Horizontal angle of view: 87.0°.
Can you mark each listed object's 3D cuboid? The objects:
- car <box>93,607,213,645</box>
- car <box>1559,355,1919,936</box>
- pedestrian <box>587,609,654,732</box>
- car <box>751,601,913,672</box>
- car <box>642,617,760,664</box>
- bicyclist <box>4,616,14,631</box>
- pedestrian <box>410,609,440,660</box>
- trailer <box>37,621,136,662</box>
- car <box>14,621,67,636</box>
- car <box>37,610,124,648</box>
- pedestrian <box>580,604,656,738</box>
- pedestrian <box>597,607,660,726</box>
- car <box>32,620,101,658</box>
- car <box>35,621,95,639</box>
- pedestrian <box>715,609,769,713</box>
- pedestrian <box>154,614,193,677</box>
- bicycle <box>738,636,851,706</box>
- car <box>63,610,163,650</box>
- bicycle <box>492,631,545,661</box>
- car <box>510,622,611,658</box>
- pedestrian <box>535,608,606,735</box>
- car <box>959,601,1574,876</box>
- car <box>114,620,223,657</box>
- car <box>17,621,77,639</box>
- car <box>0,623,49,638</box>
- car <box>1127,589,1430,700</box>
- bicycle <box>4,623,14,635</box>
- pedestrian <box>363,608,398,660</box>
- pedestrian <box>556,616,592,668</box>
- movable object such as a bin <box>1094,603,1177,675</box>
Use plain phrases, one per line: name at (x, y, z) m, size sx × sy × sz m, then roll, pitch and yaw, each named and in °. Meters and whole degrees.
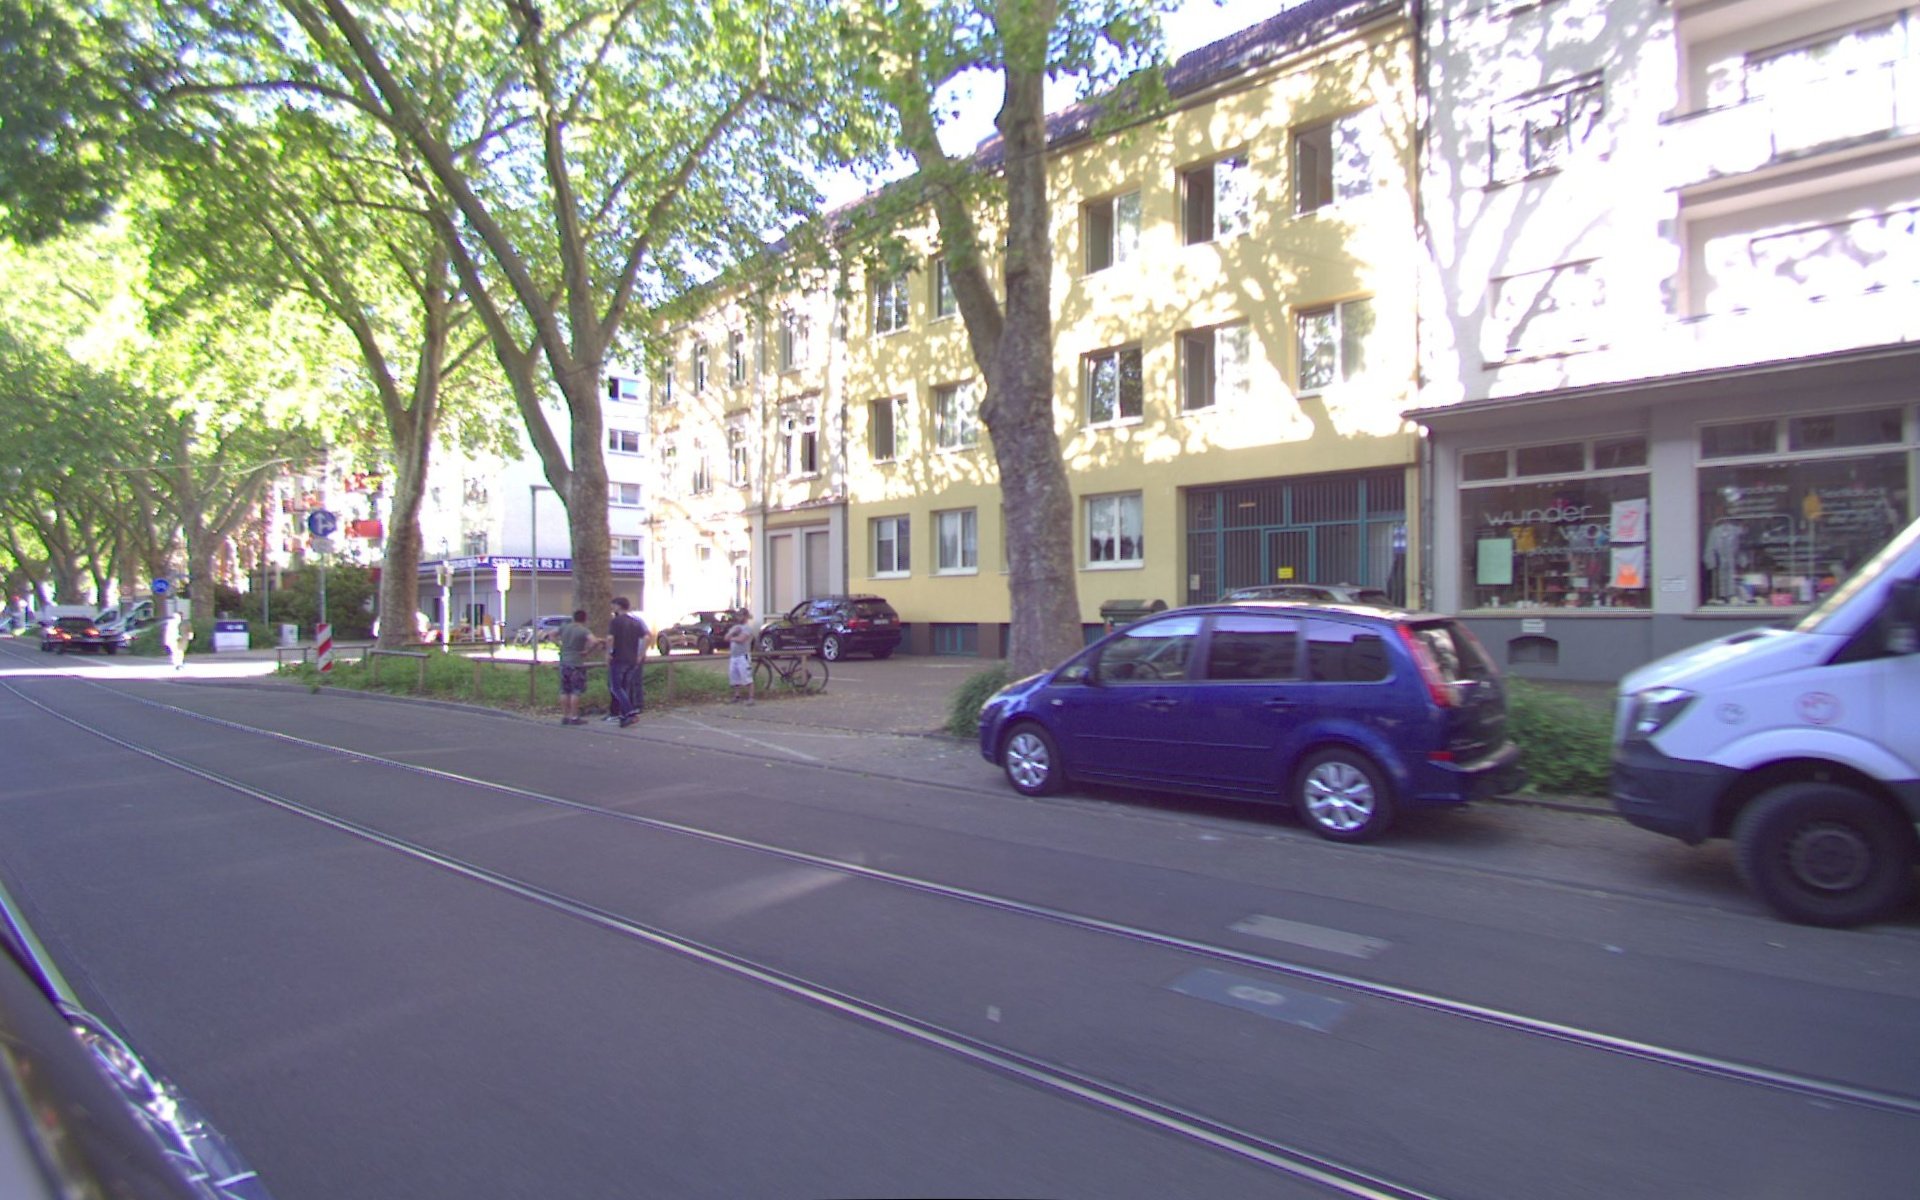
car at (-46.209, 1.440, 58.046) m, size 1.998 × 2.010 × 5.070 m, roll -1°, pitch 0°, yaw 38°
car at (6.134, 0.180, 4.116) m, size 2.083 × 2.597 × 6.028 m, roll -1°, pitch 0°, yaw -44°
pedestrian at (-4.961, 1.008, 14.822) m, size 0.759 × 1.748 × 0.715 m, roll -1°, pitch 0°, yaw -5°
car at (-3.590, 0.945, 27.786) m, size 1.971 × 1.750 × 4.698 m, roll -1°, pitch 0°, yaw -45°
car at (-8.437, 1.258, 32.846) m, size 3.998 × 1.398 × 1.761 m, roll -1°, pitch 0°, yaw 41°
bicyclist at (-76.765, 1.885, 81.701) m, size 0.666 × 1.222 × 0.526 m, roll -1°, pitch 0°, yaw 44°
pedestrian at (-19.512, 1.246, 36.912) m, size 0.668 × 1.793 × 0.715 m, roll 0°, pitch 0°, yaw 34°
trailer at (-38.596, 1.810, 44.628) m, size 6.582 × 1.644 × 2.420 m, roll -1°, pitch -3°, yaw 42°
car at (-98.241, 3.050, 108.149) m, size 1.999 × 1.478 × 3.945 m, roll -1°, pitch 0°, yaw 41°
car at (-63.766, 2.067, 73.429) m, size 2.000 × 2.552 × 4.598 m, roll -1°, pitch 0°, yaw 43°
pedestrian at (-4.763, 0.954, 14.103) m, size 0.771 × 1.790 × 0.704 m, roll -1°, pitch 0°, yaw 43°
pedestrian at (-5.034, 0.985, 15.414) m, size 0.759 × 1.748 × 0.718 m, roll -1°, pitch 0°, yaw -5°
car at (-42.612, 1.855, 48.246) m, size 4.181 × 1.696 × 1.902 m, roll -1°, pitch -3°, yaw 42°
car at (-83.040, 2.751, 93.886) m, size 1.999 × 1.478 × 3.945 m, roll -1°, pitch 0°, yaw 41°
pedestrian at (-3.498, 0.958, 16.273) m, size 0.759 × 1.622 × 0.715 m, roll -1°, pitch 0°, yaw -5°
pedestrian at (-23.179, 1.321, 29.834) m, size 0.800 × 1.805 × 0.692 m, roll -1°, pitch 0°, yaw 34°
bicycle at (-2.824, 1.187, 17.261) m, size 1.820 × 1.088 × 0.571 m, roll -1°, pitch 0°, yaw -20°
car at (-53.095, 1.859, 63.493) m, size 2.000 × 2.323 × 4.598 m, roll -1°, pitch 0°, yaw 43°
bicycle at (-17.453, 1.798, 40.071) m, size 0.655 × 1.070 × 1.845 m, roll -1°, pitch 0°, yaw 35°
car at (-18.892, 1.865, 47.967) m, size 1.835 × 1.489 × 4.097 m, roll -1°, pitch 0°, yaw 42°
pedestrian at (-5.538, 0.995, 14.412) m, size 0.703 × 1.748 × 0.771 m, roll -1°, pitch 0°, yaw -1°
car at (2.206, 0.823, 8.037) m, size 4.283 × 1.573 × 1.896 m, roll -1°, pitch 0°, yaw 43°
car at (-38.799, 1.856, 49.683) m, size 1.908 × 1.622 × 3.945 m, roll -1°, pitch 0°, yaw 41°
car at (-85.664, 2.813, 94.992) m, size 1.999 × 1.478 × 3.945 m, roll -1°, pitch 0°, yaw 41°
car at (-103.337, 3.351, 111.657) m, size 1.792 × 1.478 × 3.945 m, roll -1°, pitch 0°, yaw 41°
car at (5.657, 0.717, 18.453) m, size 4.899 × 1.746 × 1.971 m, roll -1°, pitch 0°, yaw 44°
bicycle at (-76.731, 2.327, 81.672) m, size 1.557 × 0.913 × 0.526 m, roll -1°, pitch 0°, yaw 44°
pedestrian at (-20.109, 1.175, 35.118) m, size 0.727 × 1.770 × 0.737 m, roll -1°, pitch 0°, yaw 12°
pedestrian at (-12.558, 1.339, 32.927) m, size 1.009 × 1.650 × 0.704 m, roll -1°, pitch 0°, yaw 41°
movable object such as a bin at (3.864, 0.829, 22.318) m, size 1.343 × 1.513 × 1.217 m, roll -1°, pitch 0°, yaw 42°
